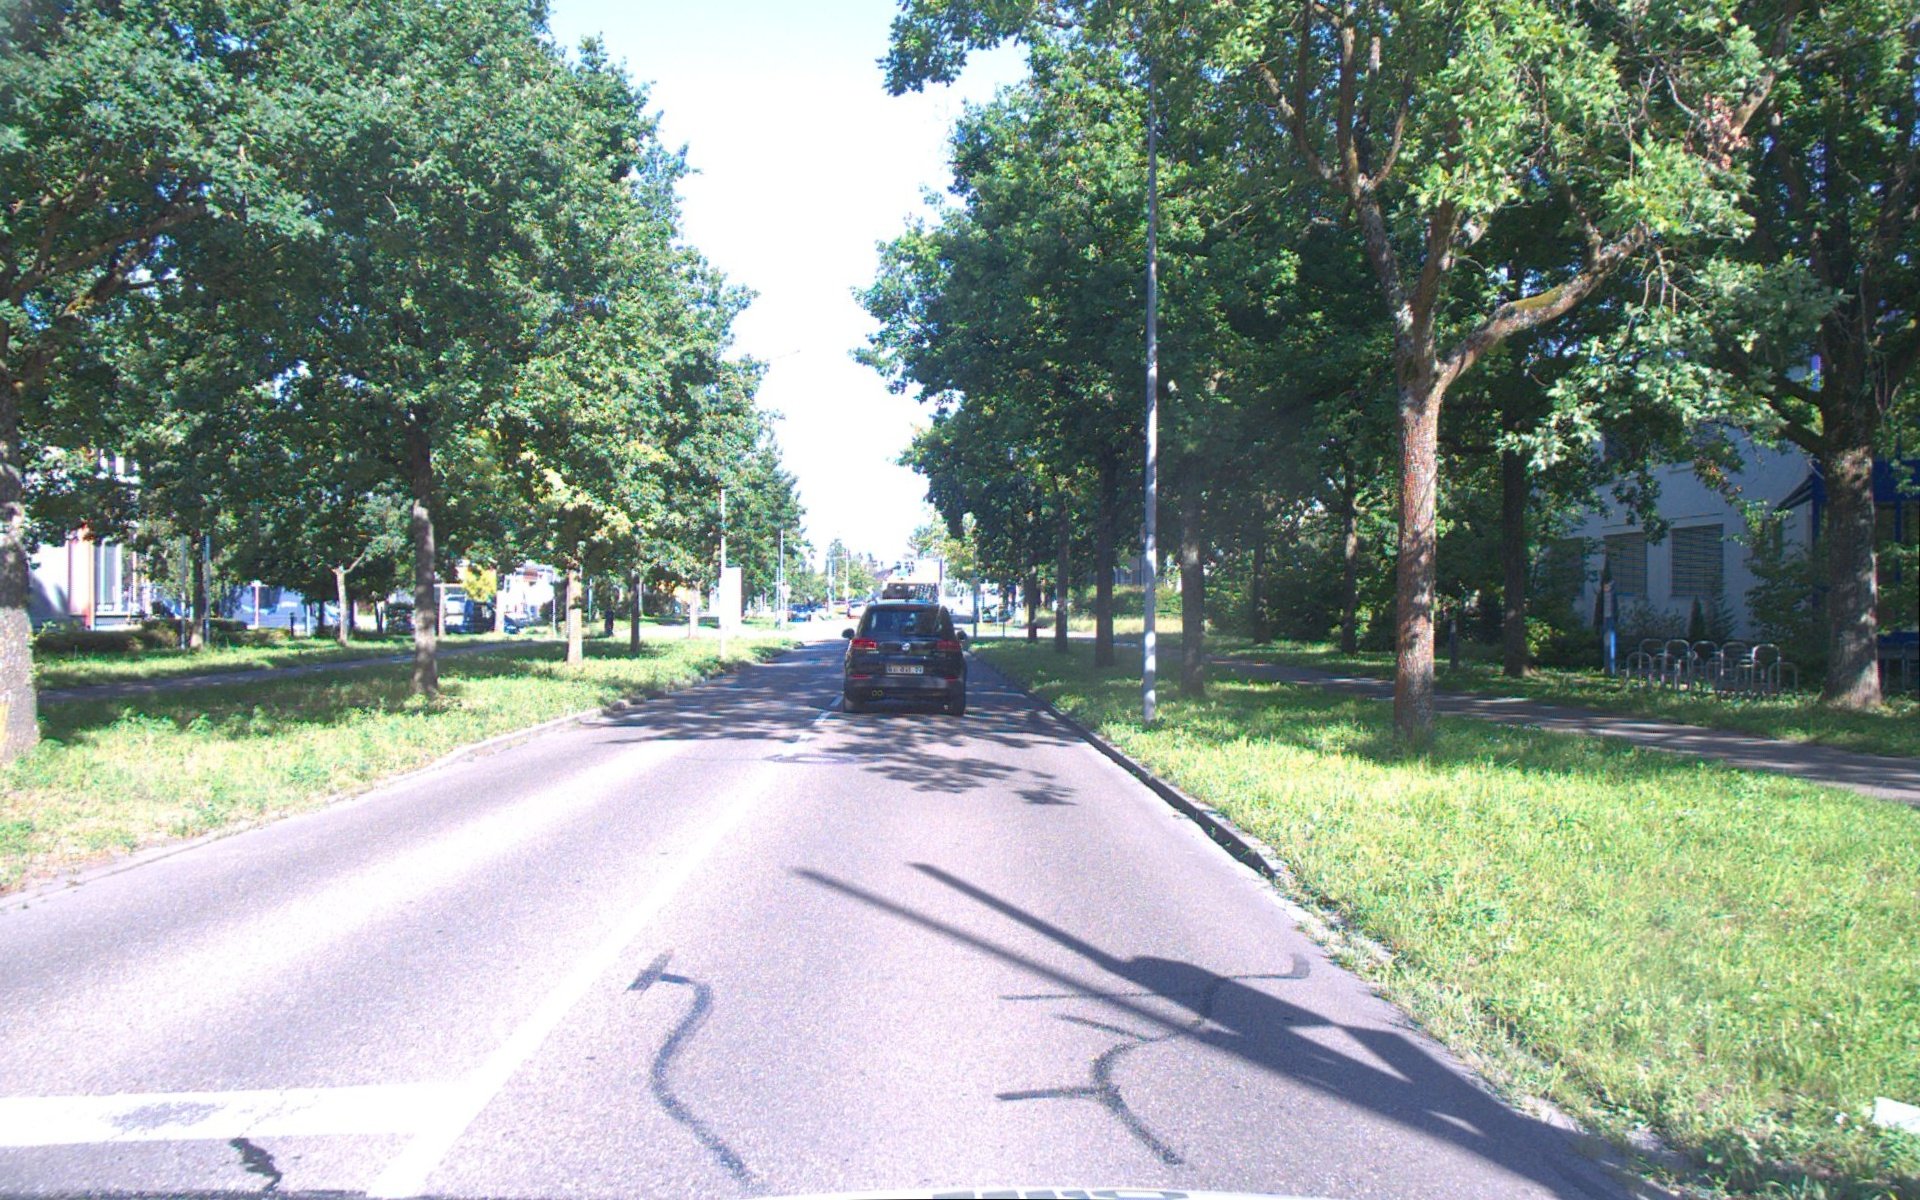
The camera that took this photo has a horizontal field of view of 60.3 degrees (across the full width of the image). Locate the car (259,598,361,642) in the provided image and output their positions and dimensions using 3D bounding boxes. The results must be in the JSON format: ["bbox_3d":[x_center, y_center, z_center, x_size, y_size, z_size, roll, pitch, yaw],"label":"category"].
[{"bbox_3d":[-26.664,0.821,67.919,3.288,1.671,2.001,2,0,4],"label":"car"}]

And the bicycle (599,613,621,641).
[{"bbox_3d":[-17.727,1.360,83.748,0.702,1.344,1.991,2,0,-2],"label":"bicycle"}]

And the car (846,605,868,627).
[{"bbox_3d":[-10.109,1.591,162.444,1.955,2.049,3.994,2,0,-7],"label":"car"}]

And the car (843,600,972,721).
[{"bbox_3d":[-0.728,0.871,25.440,1.745,1.662,4.000,2,0,1],"label":"car"}]

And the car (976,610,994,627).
[{"bbox_3d":[2.179,1.611,144.239,1.422,1.430,2.855,2,0,0],"label":"car"}]

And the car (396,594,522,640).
[{"bbox_3d":[-24.530,0.833,81.153,5.687,2.049,1.994,2,0,-12],"label":"car"}]

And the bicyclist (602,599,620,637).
[{"bbox_3d":[-17.668,0.906,83.780,0.672,1.863,0.934,2,-1,-2],"label":"bicyclist"}]

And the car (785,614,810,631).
[{"bbox_3d":[-14.563,1.978,148.723,1.953,1.481,3.998,0,0,-2],"label":"car"}]

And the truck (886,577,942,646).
[{"bbox_3d":[-2.248,0.562,83.606,2.460,3.300,8.152,0,0,1],"label":"truck"}]
